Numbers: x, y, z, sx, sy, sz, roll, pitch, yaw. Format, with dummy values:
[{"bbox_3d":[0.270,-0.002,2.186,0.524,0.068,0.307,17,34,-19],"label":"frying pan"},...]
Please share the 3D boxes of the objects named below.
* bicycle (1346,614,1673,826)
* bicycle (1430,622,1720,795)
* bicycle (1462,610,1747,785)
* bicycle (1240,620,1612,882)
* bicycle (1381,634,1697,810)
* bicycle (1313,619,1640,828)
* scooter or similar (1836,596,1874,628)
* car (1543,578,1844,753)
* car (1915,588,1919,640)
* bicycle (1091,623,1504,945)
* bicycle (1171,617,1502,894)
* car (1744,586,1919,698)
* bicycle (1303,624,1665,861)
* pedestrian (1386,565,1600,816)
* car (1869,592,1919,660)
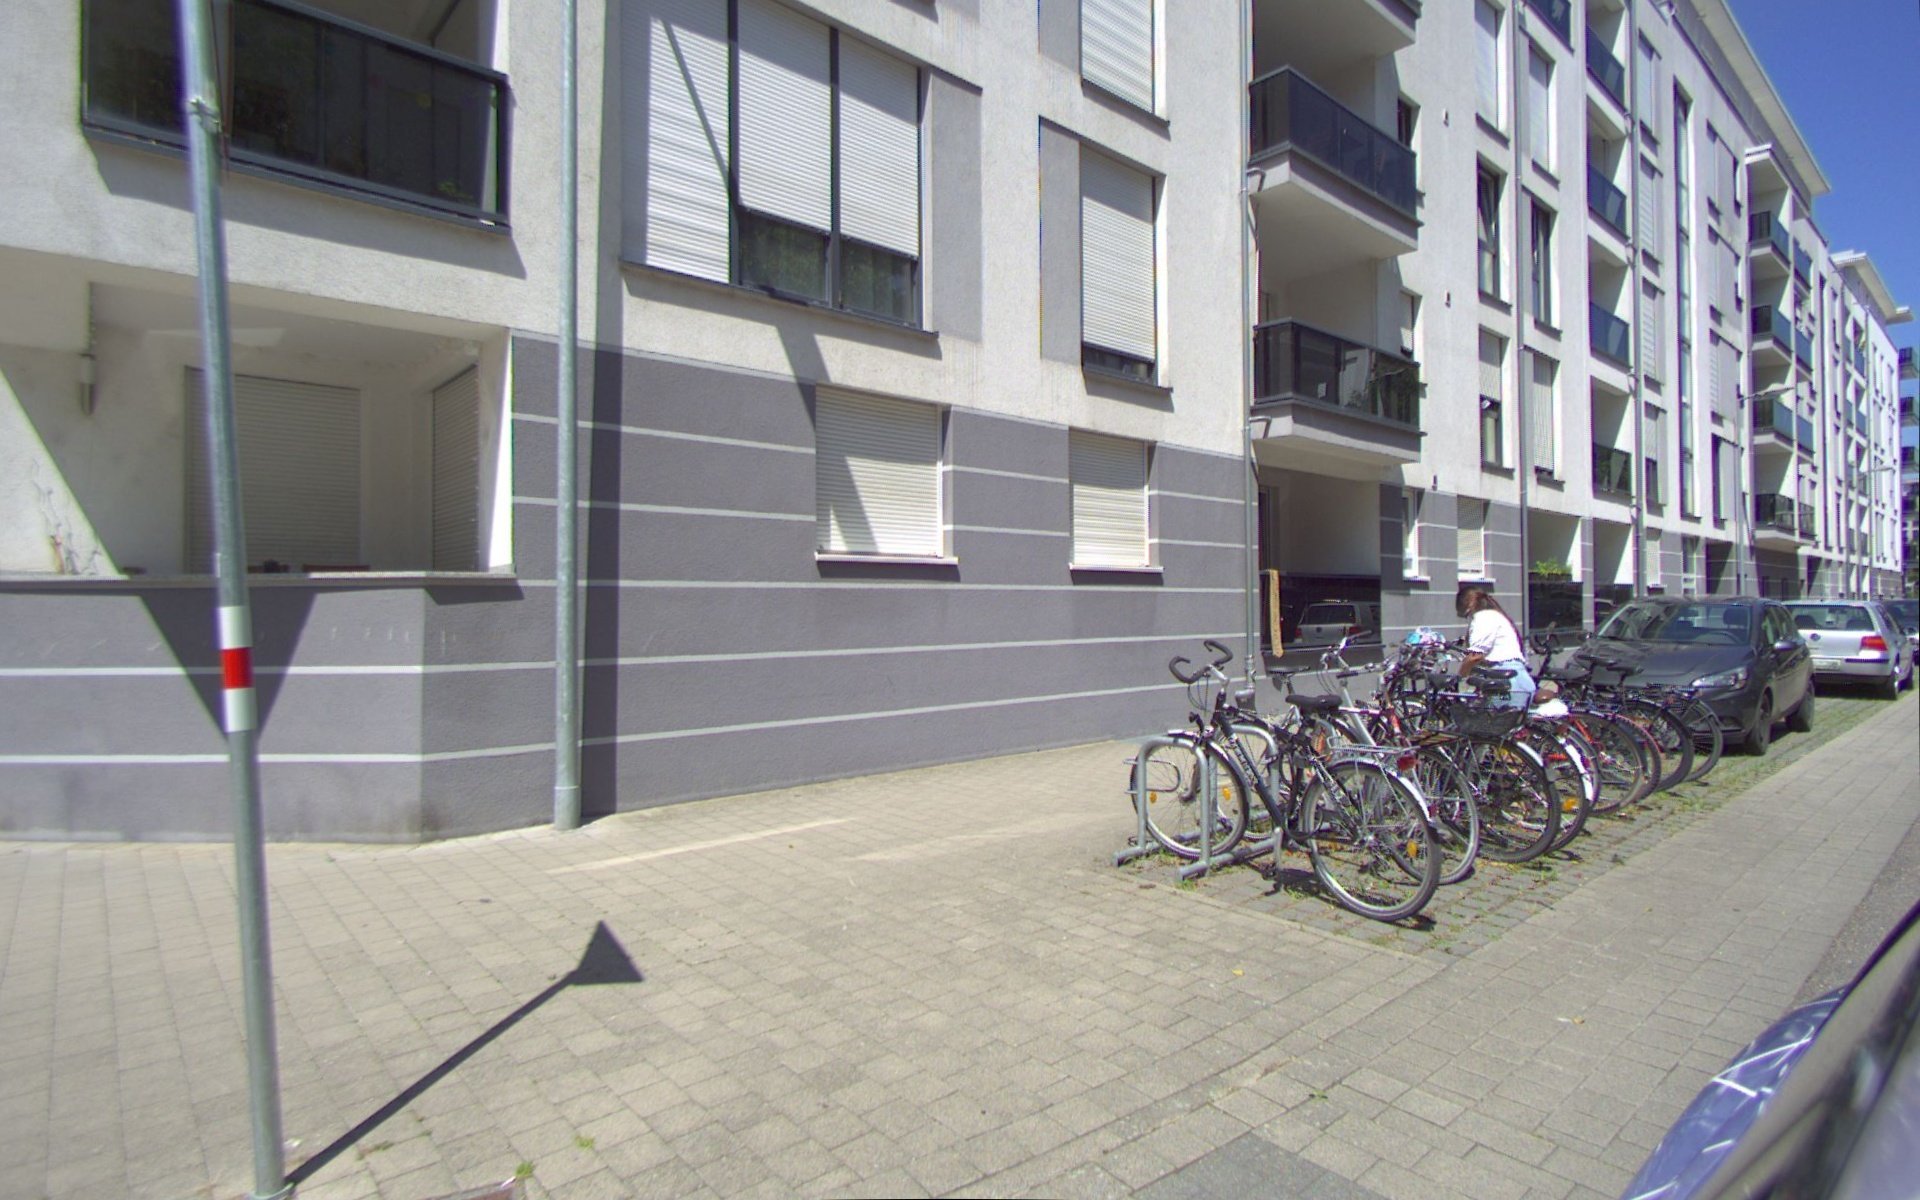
[{"bbox_3d":[3.679,0.738,6.910,1.921,1.233,0.454,1,0,40],"label":"bicycle"},{"bbox_3d":[4.680,0.759,7.790,0.735,1.118,1.787,0,1,-44],"label":"bicycle"},{"bbox_3d":[5.218,0.721,8.289,0.704,1.233,1.871,0,1,-44],"label":"bicycle"},{"bbox_3d":[2.575,0.743,5.852,0.626,1.194,1.931,0,1,-32],"label":"bicycle"},{"bbox_3d":[4.140,0.810,7.372,0.550,1.048,1.924,0,1,-44],"label":"bicycle"},{"bbox_3d":[3.261,0.725,6.517,1.824,1.163,0.456,0,0,30],"label":"bicycle"},{"bbox_3d":[34.808,0.469,39.369,1.498,1.241,0.548,0,-2,-27],"label":"scooter or similar"},{"bbox_3d":[7.866,0.545,10.705,4.156,1.504,1.741,0,0,-42],"label":"car"},{"bbox_3d":[29.546,0.418,29.914,3.612,1.504,1.598,0,1,-42],"label":"car"},{"bbox_3d":[1.544,0.748,4.953,0.675,1.208,1.864,0,1,-38],"label":"bicycle"},{"bbox_3d":[1.991,0.733,5.503,0.696,1.233,1.552,0,1,-43],"label":"bicycle"},{"bbox_3d":[14.055,0.557,16.043,4.275,1.523,1.837,0,1,-42],"label":"car"},{"bbox_3d":[3.081,0.755,6.175,0.597,1.147,1.931,0,1,-32],"label":"bicycle"},{"bbox_3d":[3.585,0.544,6.829,1.177,1.534,0.678,0,0,39],"label":"pedestrian"},{"bbox_3d":[22.441,0.567,23.453,4.047,1.481,1.645,0,1,-42],"label":"car"}]
